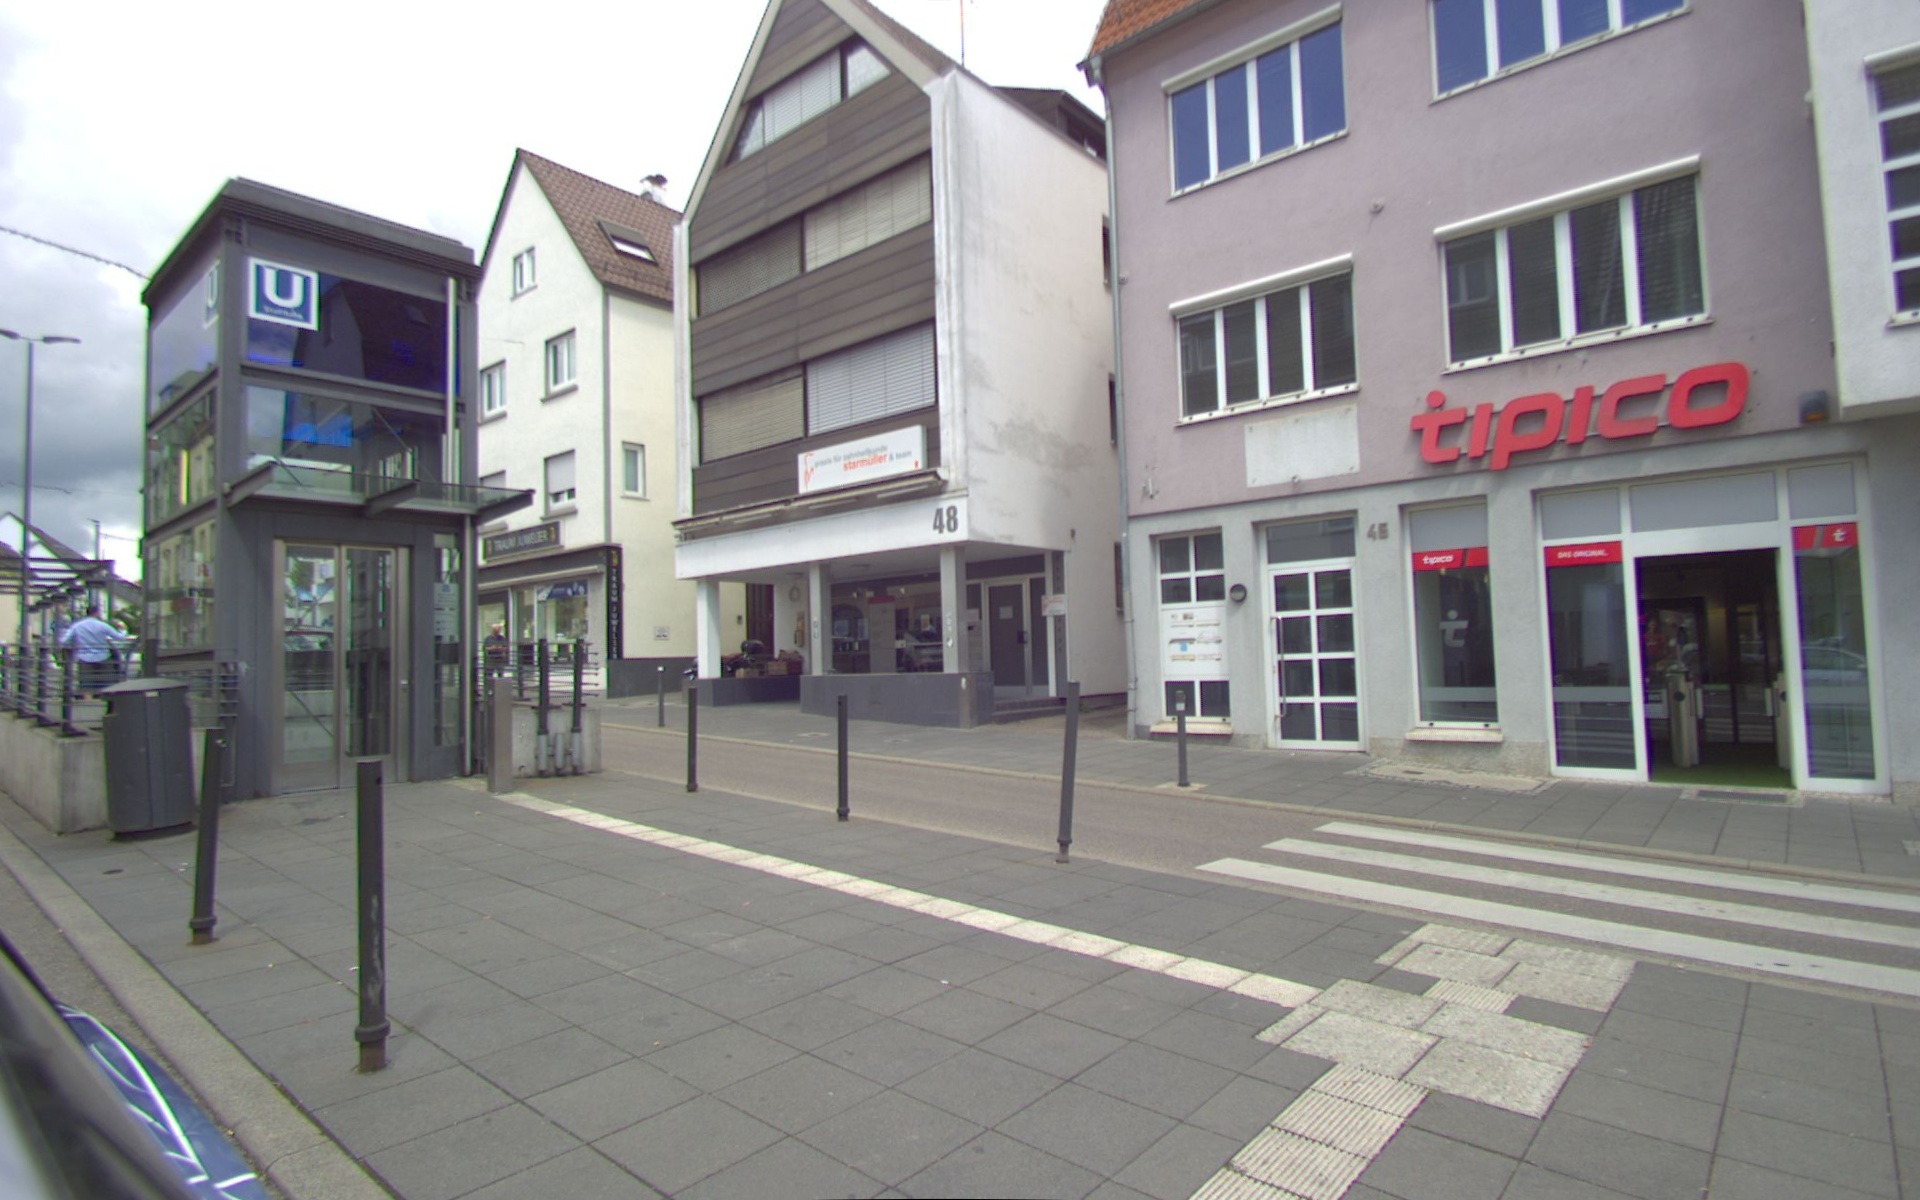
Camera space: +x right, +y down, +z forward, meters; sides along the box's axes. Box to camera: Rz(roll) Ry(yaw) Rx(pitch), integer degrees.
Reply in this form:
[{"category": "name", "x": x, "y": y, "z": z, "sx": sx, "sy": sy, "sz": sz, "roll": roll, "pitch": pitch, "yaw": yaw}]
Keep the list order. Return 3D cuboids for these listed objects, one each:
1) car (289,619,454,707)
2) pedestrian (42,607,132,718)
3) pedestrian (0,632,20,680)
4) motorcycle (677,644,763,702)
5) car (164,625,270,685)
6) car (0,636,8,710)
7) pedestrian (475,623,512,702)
[{"category": "car", "x": -12.118, "y": 1.201, "z": 20.737, "sx": 4.120, "sy": 1.583, "sz": 1.662, "roll": -1, "pitch": 0, "yaw": 41}, {"category": "pedestrian", "x": -15.387, "y": 1.069, "z": 17.843, "sx": 0.931, "sy": 1.855, "sz": 1.083, "roll": -1, "pitch": 0, "yaw": 41}, {"category": "pedestrian", "x": -34.141, "y": 1.991, "z": 36.043, "sx": 0.648, "sy": 1.642, "sz": 0.743, "roll": -1, "pitch": 0, "yaw": 1}, {"category": "motorcycle", "x": -5.295, "y": 1.587, "z": 22.415, "sx": 0.633, "sy": 1.149, "sz": 1.831, "roll": -1, "pitch": 0, "yaw": 39}, {"category": "car", "x": -22.155, "y": 1.579, "z": 30.115, "sx": 4.120, "sy": 1.583, "sz": 1.662, "roll": -1, "pitch": 0, "yaw": 41}, {"category": "car", "x": -20.801, "y": 1.526, "z": 20.571, "sx": 3.598, "sy": 1.472, "sz": 1.732, "roll": -3, "pitch": -2, "yaw": 40}, {"category": "pedestrian", "x": -10.511, "y": 1.398, "z": 22.810, "sx": 0.513, "sy": 1.729, "sz": 0.584, "roll": -1, "pitch": 0, "yaw": 41}]
